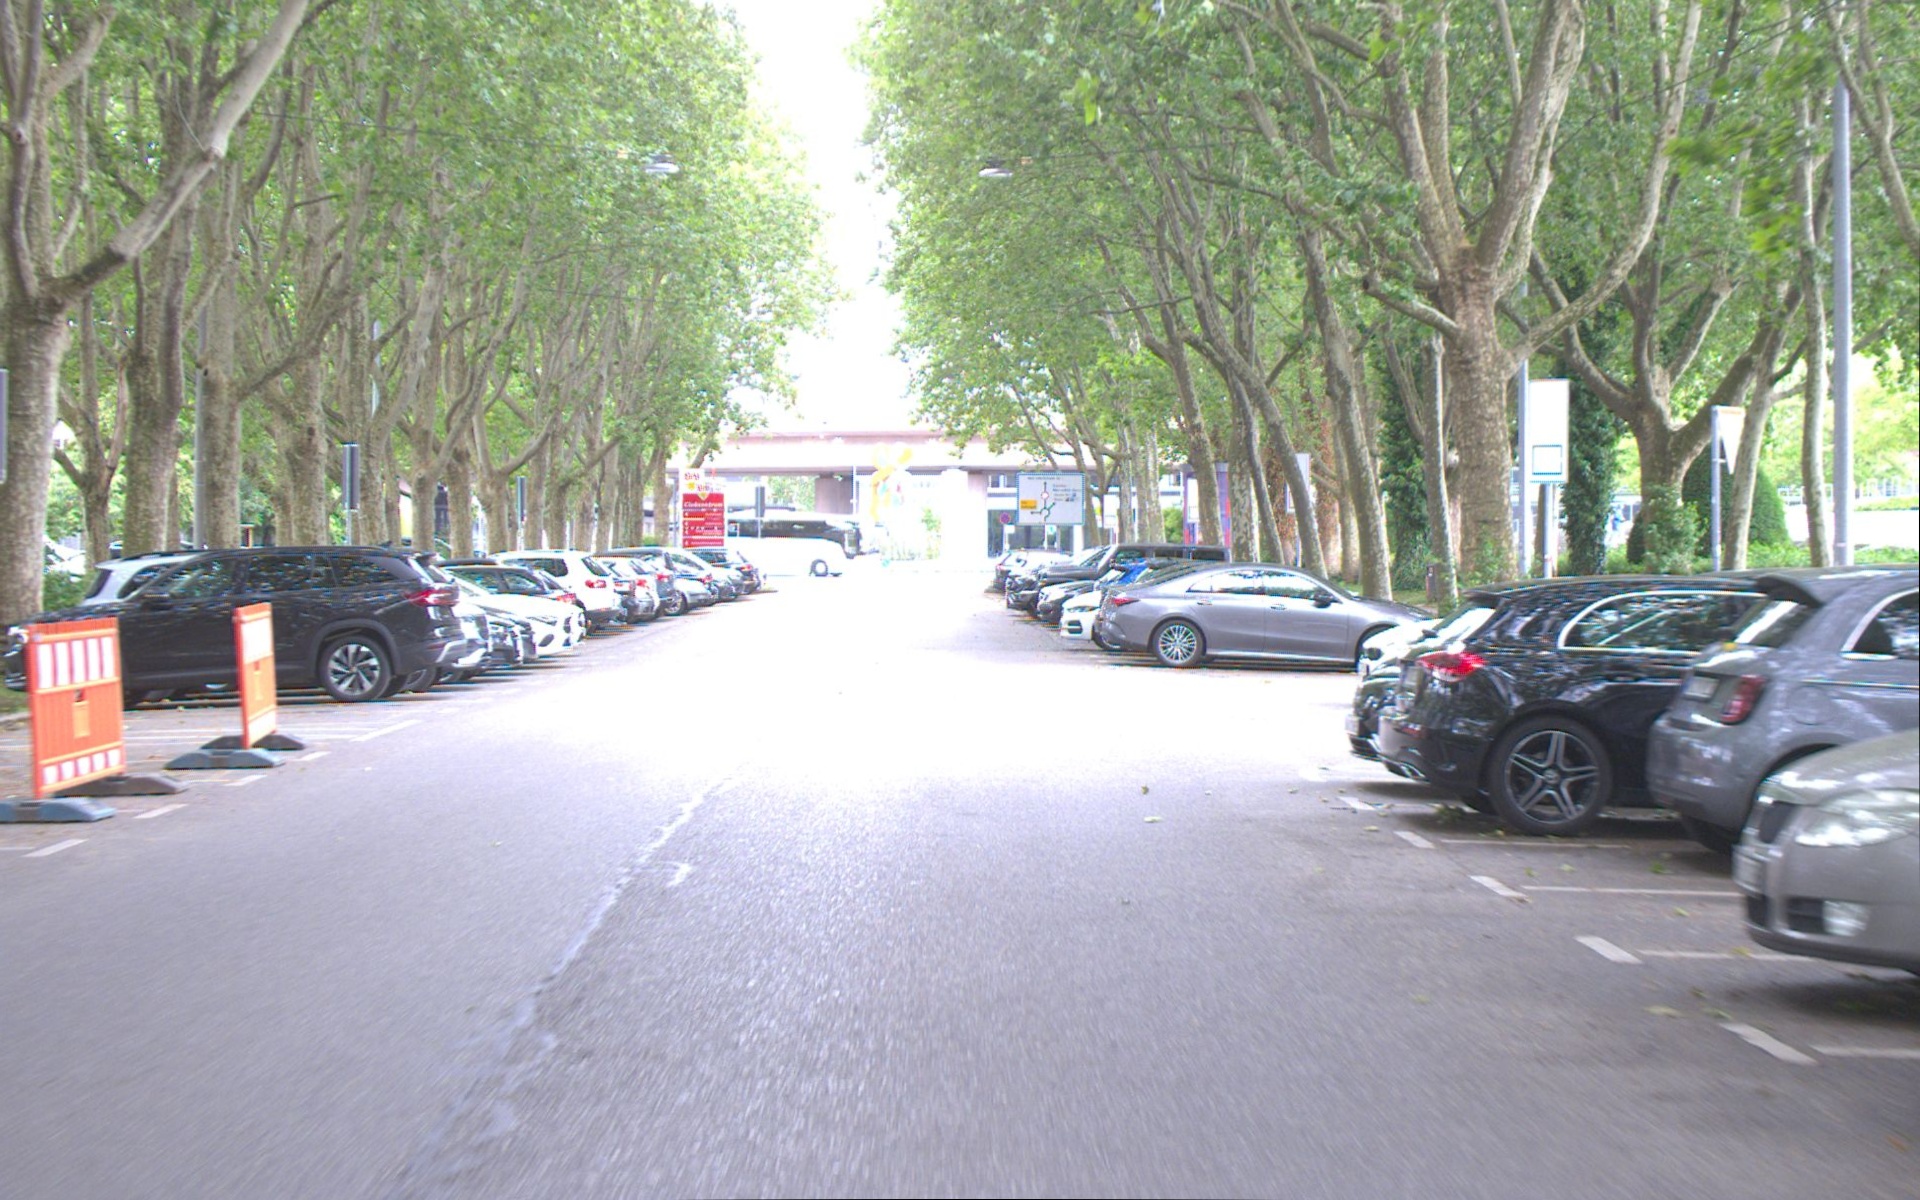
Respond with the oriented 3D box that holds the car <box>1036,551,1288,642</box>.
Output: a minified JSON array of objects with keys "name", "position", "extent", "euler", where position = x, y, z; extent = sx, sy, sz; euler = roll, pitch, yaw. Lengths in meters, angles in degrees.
[{"name":"car","position":[3.436,-0.076,58.404],"extent":[4.176,1.437,1.731],"euler":[1,1,4]}]

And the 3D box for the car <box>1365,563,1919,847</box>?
[{"name":"car","position":[4.340,0.567,19.132],"extent":[3.918,1.447,1.556],"euler":[1,1,-2]}]

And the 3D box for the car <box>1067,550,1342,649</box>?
[{"name":"car","position":[3.791,-0.018,53.409],"extent":[4.176,1.437,1.731],"euler":[1,1,4]}]

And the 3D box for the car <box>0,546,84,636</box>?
[{"name":"car","position":[-23.271,-0.263,80.149],"extent":[5.078,2.008,2.175],"euler":[1,1,3]}]

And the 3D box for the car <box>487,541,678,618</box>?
[{"name":"car","position":[-8.145,-0.456,74.356],"extent":[3.814,1.510,1.686],"euler":[-2,1,5]}]

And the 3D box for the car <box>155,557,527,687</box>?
[{"name":"car","position":[-7.438,0.251,41.597],"extent":[4.166,1.376,1.871],"euler":[-2,1,-2]}]

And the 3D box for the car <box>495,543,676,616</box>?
[{"name":"car","position":[-8.556,-0.470,78.640],"extent":[3.814,1.510,1.686],"euler":[-2,1,5]}]

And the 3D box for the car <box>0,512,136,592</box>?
[{"name":"car","position":[-24.119,-1.285,90.311],"extent":[4.352,2.008,2.175],"euler":[1,1,3]}]

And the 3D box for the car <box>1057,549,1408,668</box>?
[{"name":"car","position":[3.648,0.090,46.270],"extent":[4.575,1.481,2.000],"euler":[1,1,4]}]

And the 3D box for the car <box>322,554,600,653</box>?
[{"name":"car","position":[-7.470,0.050,51.640],"extent":[3.814,1.326,1.662],"euler":[-2,1,5]}]

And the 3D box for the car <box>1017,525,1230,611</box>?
[{"name":"car","position":[3.479,-0.692,73.716],"extent":[4.376,1.745,1.731],"euler":[1,1,-3]}]

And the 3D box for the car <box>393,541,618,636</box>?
[{"name":"car","position":[-8.412,-0.221,63.821],"extent":[3.814,1.597,1.785],"euler":[-2,1,5]}]

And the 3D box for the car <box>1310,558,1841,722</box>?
[{"name":"car","position":[6.303,0.400,35.416],"extent":[4.930,1.397,2.001],"euler":[3,1,-11]}]

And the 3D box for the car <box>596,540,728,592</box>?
[{"name":"car","position":[-9.079,-1.041,104.785],"extent":[3.814,1.510,1.686],"euler":[1,1,2]}]

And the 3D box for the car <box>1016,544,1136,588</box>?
[{"name":"car","position":[4.310,-1.270,127.839],"extent":[4.376,1.517,1.731],"euler":[1,1,0]}]

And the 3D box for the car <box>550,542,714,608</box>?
[{"name":"car","position":[-8.252,-0.642,86.677],"extent":[3.814,1.510,1.686],"euler":[-2,1,5]}]

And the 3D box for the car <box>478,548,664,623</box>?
[{"name":"car","position":[-8.641,-0.332,76.468],"extent":[3.814,1.510,1.686],"euler":[-2,1,5]}]

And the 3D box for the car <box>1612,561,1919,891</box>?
[{"name":"car","position":[5.088,0.604,16.847],"extent":[3.424,1.503,1.556],"euler":[1,1,-2]}]

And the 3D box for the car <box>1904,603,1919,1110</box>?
[{"name":"car","position":[4.408,0.772,9.018],"extent":[3.425,1.419,1.519],"euler":[1,1,1]}]

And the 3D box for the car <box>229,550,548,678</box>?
[{"name":"car","position":[-7.312,0.168,44.228],"extent":[3.813,1.479,1.662],"euler":[-2,1,-2]}]

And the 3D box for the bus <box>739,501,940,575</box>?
[{"name":"bus","position":[-6.891,-3.486,195.173],"extent":[11.590,3.957,2.451],"euler":[-1,0,27]}]

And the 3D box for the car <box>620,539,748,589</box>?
[{"name":"car","position":[-8.619,-1.140,107.529],"extent":[3.814,1.510,1.686],"euler":[1,1,2]}]

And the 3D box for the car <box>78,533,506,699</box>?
[{"name":"car","position":[-7.480,0.156,38.825],"extent":[4.471,1.671,1.762],"euler":[-2,1,-2]}]

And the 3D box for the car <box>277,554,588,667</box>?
[{"name":"car","position":[-7.067,0.128,46.230],"extent":[3.814,1.349,1.662],"euler":[-2,1,5]}]

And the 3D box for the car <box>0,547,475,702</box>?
[{"name":"car","position":[-7.564,0.235,36.155],"extent":[4.664,1.422,2.000],"euler":[-2,1,-2]}]

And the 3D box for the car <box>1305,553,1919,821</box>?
[{"name":"car","position":[4.624,0.528,21.379],"extent":[4.659,1.447,1.926],"euler":[2,1,-2]}]

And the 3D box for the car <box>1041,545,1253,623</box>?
[{"name":"car","position":[3.706,-0.320,68.608],"extent":[4.048,1.463,1.731],"euler":[1,1,-3]}]

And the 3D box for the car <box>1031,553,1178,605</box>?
[{"name":"car","position":[4.462,-0.646,106.419],"extent":[4.376,1.517,1.731],"euler":[1,1,-3]}]

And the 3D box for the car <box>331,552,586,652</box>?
[{"name":"car","position":[-8.207,0.023,56.393],"extent":[3.814,1.479,1.662],"euler":[-2,1,5]}]

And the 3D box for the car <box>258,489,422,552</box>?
[{"name":"car","position":[-20.982,-2.682,116.437],"extent":[5.078,2.008,2.175],"euler":[1,1,3]}]

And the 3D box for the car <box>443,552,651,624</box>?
[{"name":"car","position":[-8.262,-0.255,68.963],"extent":[3.814,1.292,1.785],"euler":[-2,1,5]}]

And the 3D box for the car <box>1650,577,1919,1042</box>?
[{"name":"car","position":[4.337,0.682,11.529],"extent":[3.678,1.419,1.519],"euler":[1,1,-2]}]
